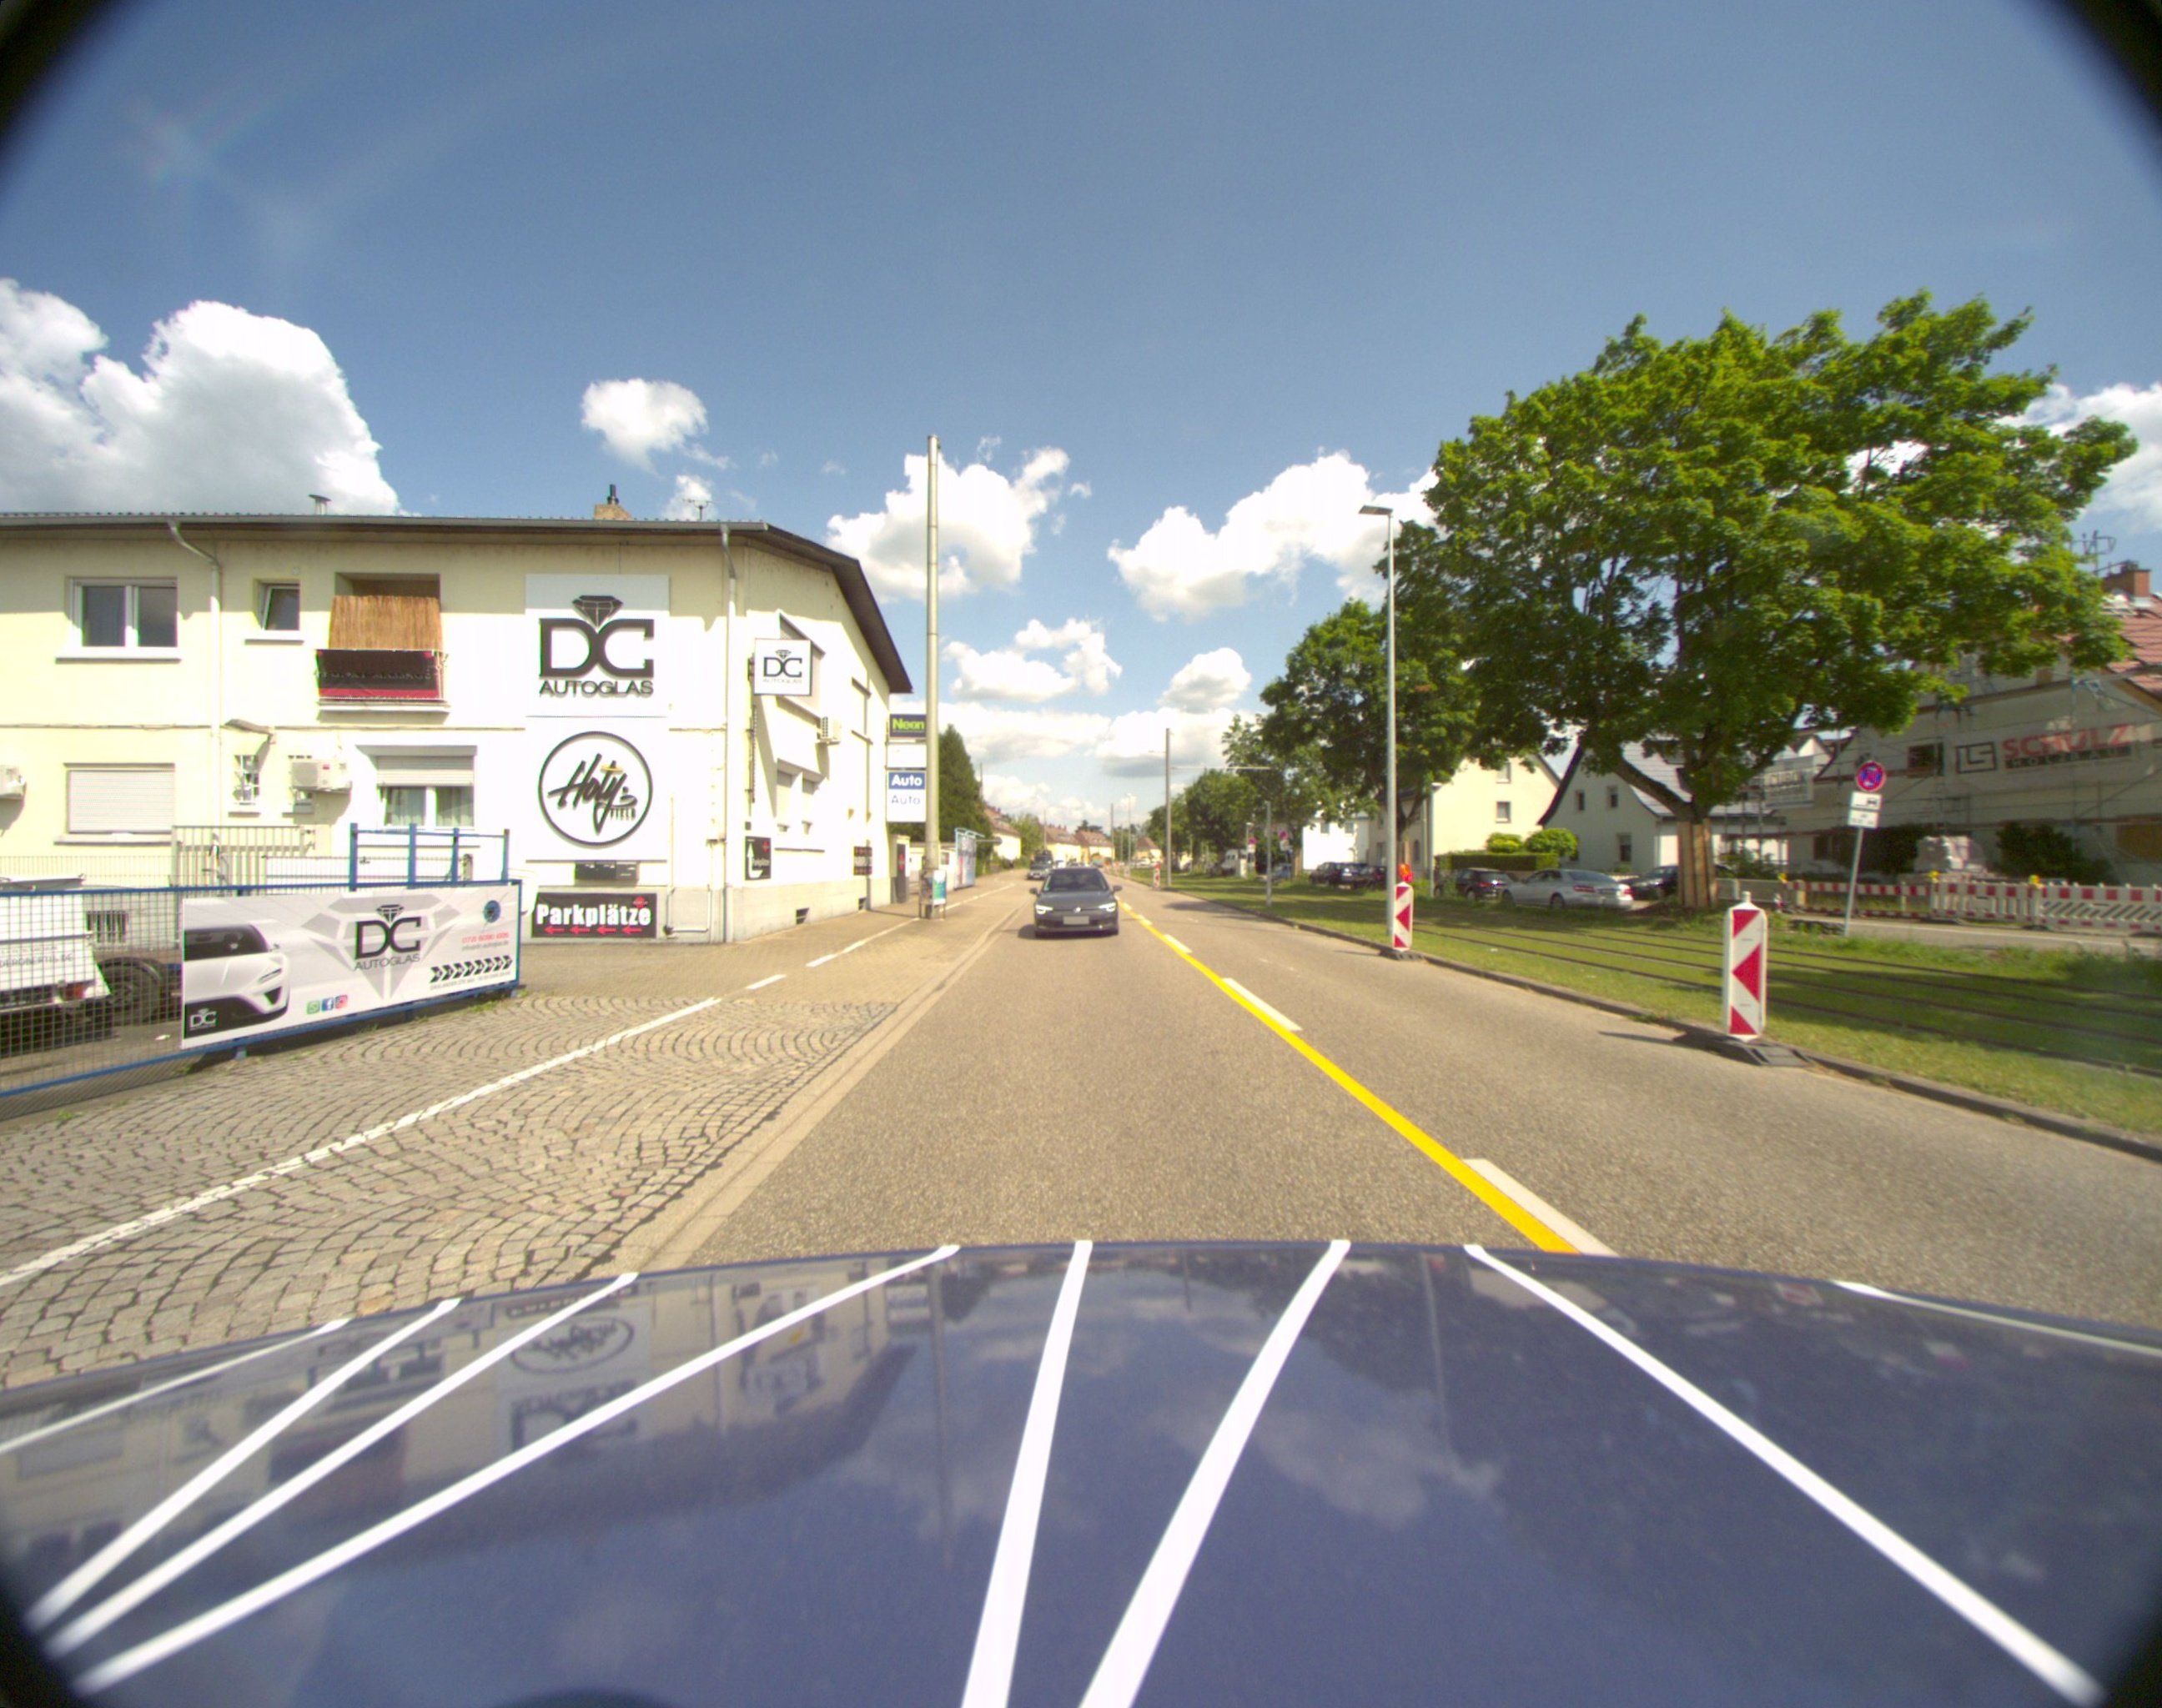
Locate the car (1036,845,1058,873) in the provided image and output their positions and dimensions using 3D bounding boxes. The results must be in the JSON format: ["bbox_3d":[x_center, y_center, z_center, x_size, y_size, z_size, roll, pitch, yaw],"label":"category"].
[{"bbox_3d":[-3.408,0.532,77.442,2.001,2.744,4.878,1,0,0],"label":"car"}]

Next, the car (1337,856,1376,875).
[{"bbox_3d":[23.984,0.993,66.380,1.907,1.568,3.999,1,1,0],"label":"car"}]

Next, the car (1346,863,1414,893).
[{"bbox_3d":[15.992,1.258,40.851,1.999,1.430,3.999,2,0,-1],"label":"car"}]

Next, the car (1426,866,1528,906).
[{"bbox_3d":[15.801,1.240,30.586,1.999,1.310,3.852,3,0,-1],"label":"car"}]

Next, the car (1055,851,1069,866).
[{"bbox_3d":[-3.235,0.838,131.937,1.924,2.522,5.346,1,0,4],"label":"car"}]

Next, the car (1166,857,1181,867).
[{"bbox_3d":[15.062,1.322,124.169,1.998,1.530,4.322,1,0,0],"label":"car"}]

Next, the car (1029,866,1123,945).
[{"bbox_3d":[-0.162,1.068,17.325,1.786,1.412,4.289,-4,0,-2],"label":"car"}]

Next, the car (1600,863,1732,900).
[{"bbox_3d":[24.328,1.112,31.707,3.997,1.393,1.982,-1,1,-1],"label":"car"}]

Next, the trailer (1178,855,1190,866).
[{"bbox_3d":[14.740,0.911,108.650,1.303,1.510,2.281,1,0,-1],"label":"trailer"}]

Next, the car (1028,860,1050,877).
[{"bbox_3d":[-3.631,1.250,66.542,1.656,1.423,4.096,1,0,0],"label":"car"}]

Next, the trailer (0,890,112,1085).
[{"bbox_3d":[-8.982,0.928,5.279,2.789,1.325,1.303,1,0,0],"label":"trailer"}]

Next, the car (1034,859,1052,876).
[{"bbox_3d":[-3.580,1.251,71.534,1.696,1.507,4.354,1,0,-3],"label":"car"}]

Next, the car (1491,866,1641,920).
[{"bbox_3d":[15.881,1.206,25.274,1.809,1.474,4.939,1,0,0],"label":"car"}]

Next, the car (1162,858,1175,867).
[{"bbox_3d":[16.452,1.562,142.716,1.998,1.530,4.323,1,0,2],"label":"car"}]

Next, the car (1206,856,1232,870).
[{"bbox_3d":[15.176,0.980,83.865,1.999,1.497,4.486,1,0,0],"label":"car"}]

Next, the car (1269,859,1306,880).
[{"bbox_3d":[15.392,1.123,56.803,1.758,1.427,3.889,1,0,2],"label":"car"}]

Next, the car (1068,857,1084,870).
[{"bbox_3d":[-0.606,1.221,96.878,1.999,1.566,4.000,0,0,-1],"label":"car"}]

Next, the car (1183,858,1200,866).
[{"bbox_3d":[14.982,1.072,103.238,1.786,1.087,3.835,1,0,-1],"label":"car"}]

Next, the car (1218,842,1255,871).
[{"bbox_3d":[15.216,0.283,74.523,1.999,2.714,6.461,1,0,-2],"label":"car"}]

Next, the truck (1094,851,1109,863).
[{"bbox_3d":[5.428,0.675,196.864,2.530,2.931,7.868,1,1,12],"label":"truck"}]

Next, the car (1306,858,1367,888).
[{"bbox_3d":[15.662,1.105,46.861,1.999,1.681,4.390,1,1,-4],"label":"car"}]
